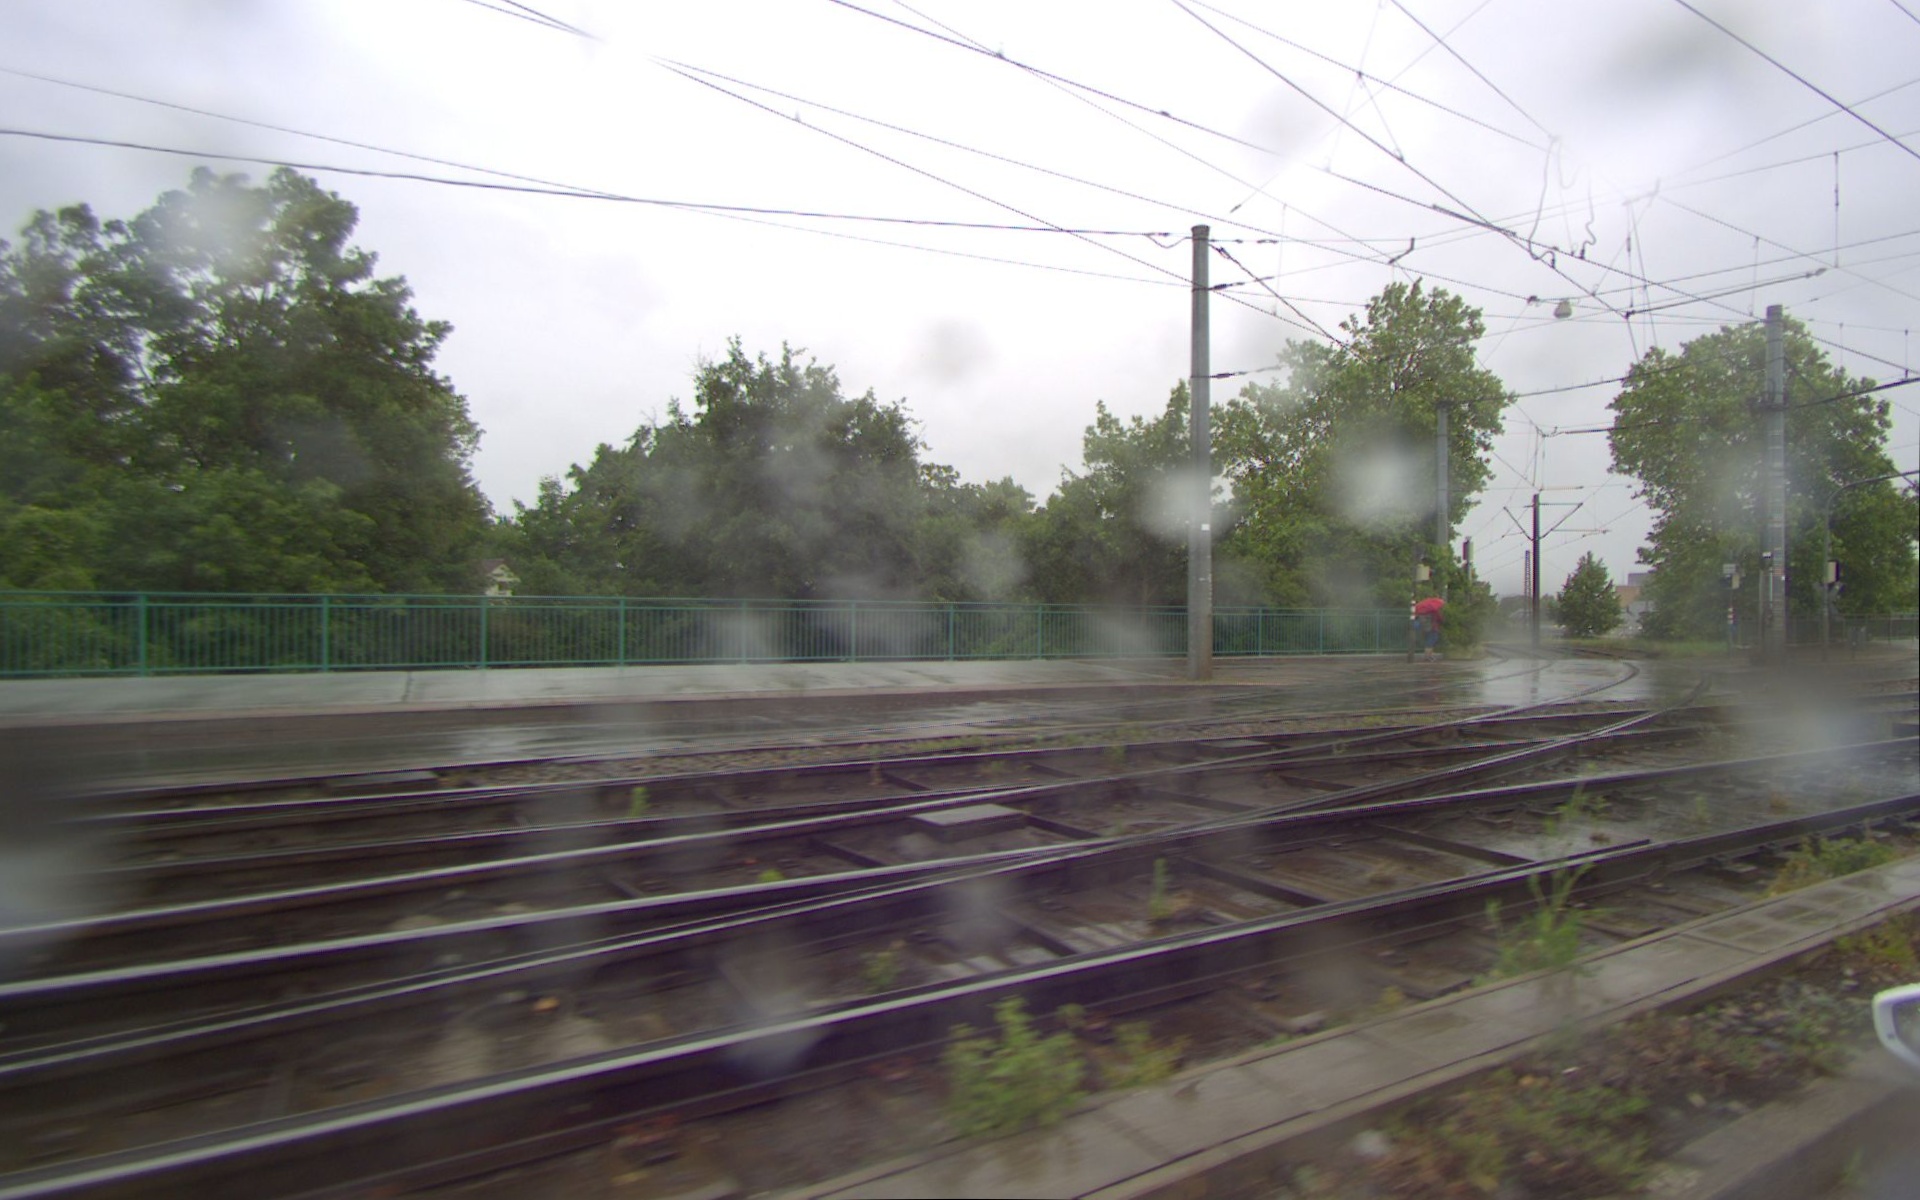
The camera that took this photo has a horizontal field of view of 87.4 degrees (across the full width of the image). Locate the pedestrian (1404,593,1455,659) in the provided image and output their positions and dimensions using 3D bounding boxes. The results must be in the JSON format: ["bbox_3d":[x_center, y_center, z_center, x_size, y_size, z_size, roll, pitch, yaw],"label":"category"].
[{"bbox_3d":[13.609,0.749,29.112,1.030,1.843,0.860,1,1,-30],"label":"pedestrian"}]
